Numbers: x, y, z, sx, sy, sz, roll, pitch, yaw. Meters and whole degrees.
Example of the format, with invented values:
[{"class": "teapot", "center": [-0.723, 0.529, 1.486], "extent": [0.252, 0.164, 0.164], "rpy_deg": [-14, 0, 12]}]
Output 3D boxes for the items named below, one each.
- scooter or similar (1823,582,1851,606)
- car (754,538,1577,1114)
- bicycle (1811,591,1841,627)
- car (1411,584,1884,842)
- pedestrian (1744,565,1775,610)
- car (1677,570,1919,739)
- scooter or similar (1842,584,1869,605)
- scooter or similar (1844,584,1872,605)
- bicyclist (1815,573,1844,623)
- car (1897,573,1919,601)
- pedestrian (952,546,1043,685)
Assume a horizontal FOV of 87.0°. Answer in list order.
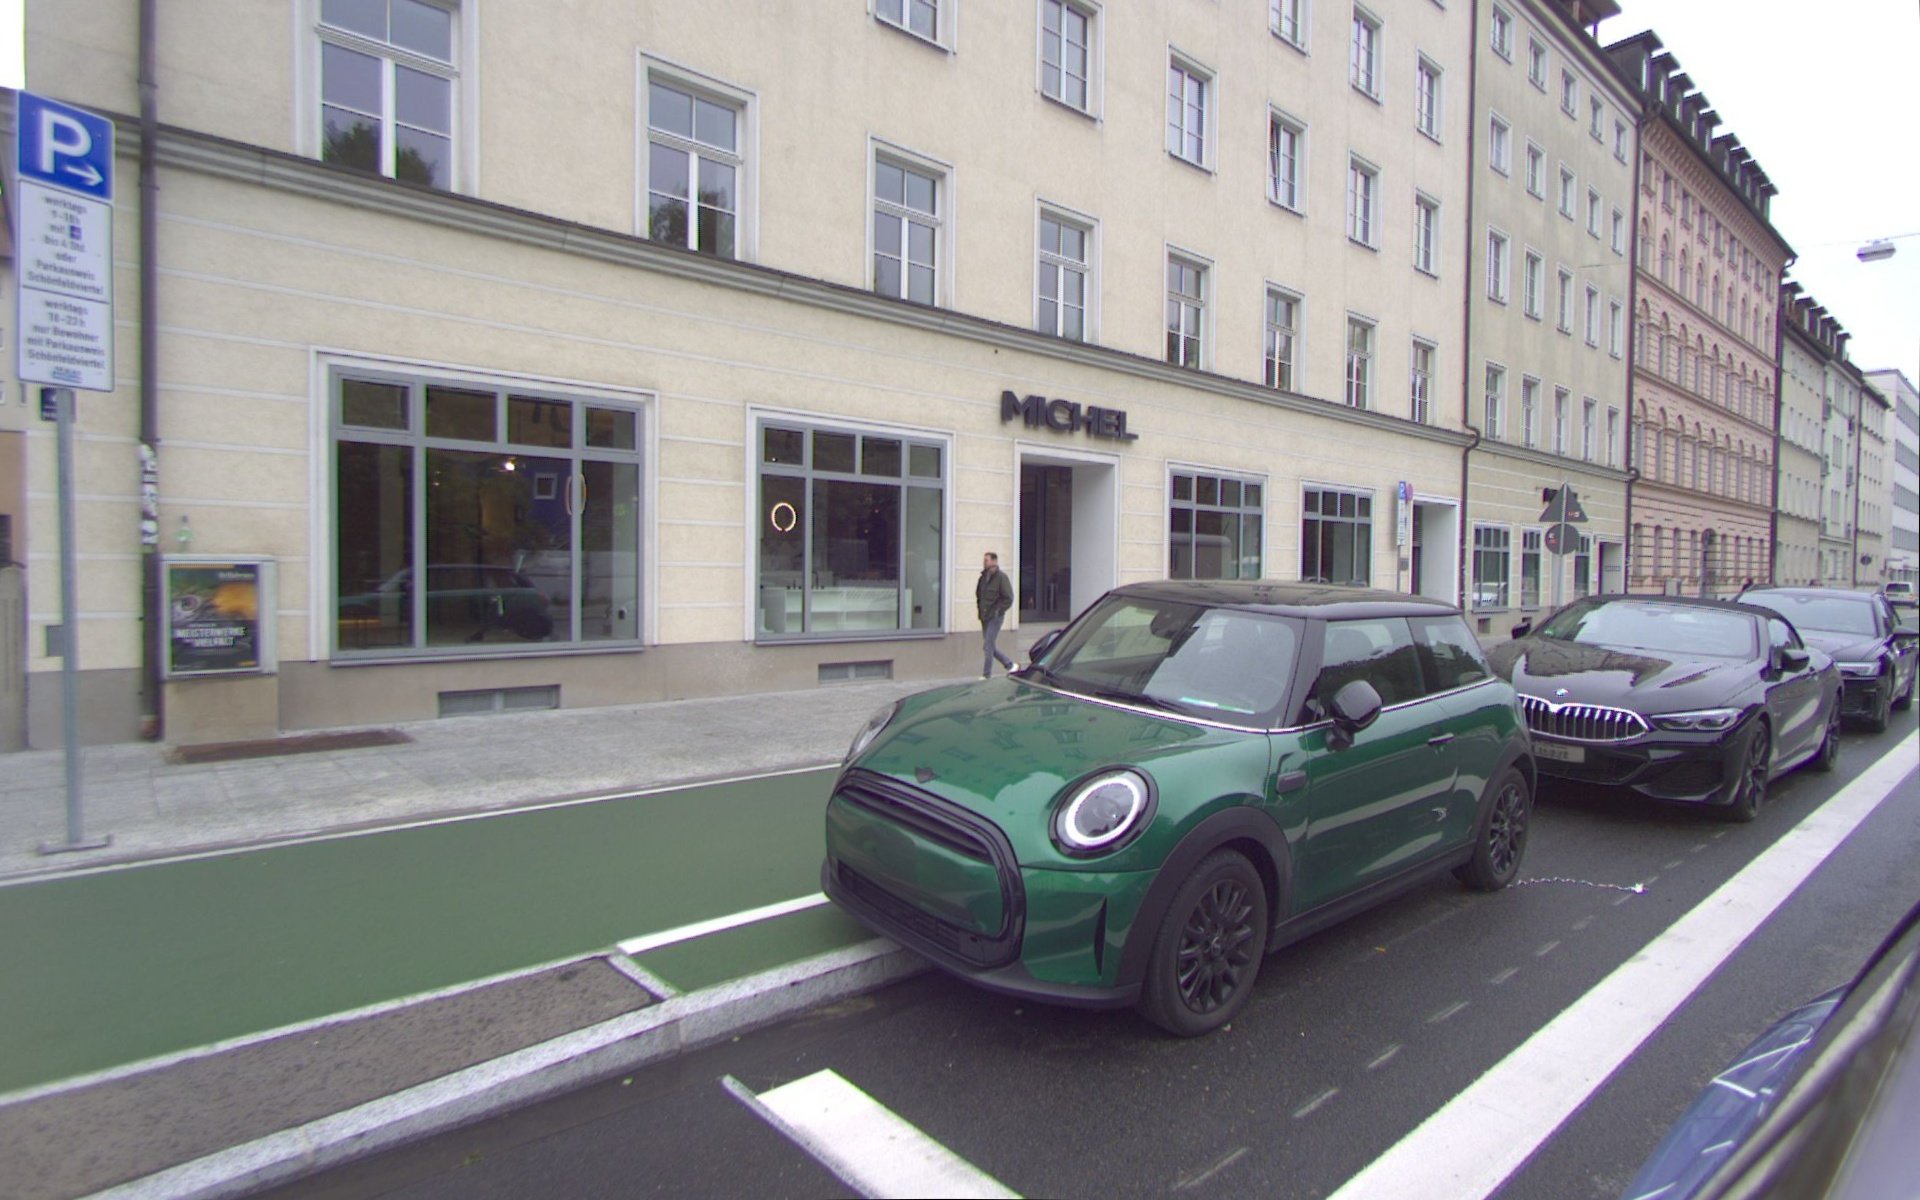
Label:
[{"class": "scooter or similar", "center": [48.285, -0.322, 55.706], "extent": [1.055, 1.260, 0.554], "rpy_deg": [1, 1, -6]}, {"class": "car", "center": [1.155, 0.580, 4.567], "extent": [3.761, 1.540, 1.678], "rpy_deg": [-1, 1, -40]}, {"class": "bicycle", "center": [26.687, 0.250, 31.190], "extent": [0.630, 1.050, 1.987], "rpy_deg": [2, 2, 42]}, {"class": "car", "center": [5.475, 0.593, 7.789], "extent": [4.636, 1.425, 1.829], "rpy_deg": [-1, 1, -40]}, {"class": "pedestrian", "center": [31.707, -0.490, 40.130], "extent": [0.819, 1.767, 0.795], "rpy_deg": [0, 1, -40]}, {"class": "car", "center": [10.115, 0.481, 11.879], "extent": [4.387, 1.497, 1.812], "rpy_deg": [-1, 6, -43]}, {"class": "scooter or similar", "center": [52.908, -0.330, 59.786], "extent": [1.059, 1.207, 0.436], "rpy_deg": [1, 1, 10]}, {"class": "scooter or similar", "center": [52.100, -0.323, 58.712], "extent": [1.063, 1.207, 0.451], "rpy_deg": [1, 1, 20]}, {"class": "bicyclist", "center": [26.754, -0.069, 31.149], "extent": [0.630, 1.485, 0.643], "rpy_deg": [2, 2, 42]}, {"class": "car", "center": [65.753, -0.888, 69.445], "extent": [3.931, 1.855, 1.764], "rpy_deg": [-1, 2, -42]}, {"class": "pedestrian", "center": [0.485, 0.174, 13.099], "extent": [0.846, 1.709, 0.780], "rpy_deg": [0, 2, -40]}]
